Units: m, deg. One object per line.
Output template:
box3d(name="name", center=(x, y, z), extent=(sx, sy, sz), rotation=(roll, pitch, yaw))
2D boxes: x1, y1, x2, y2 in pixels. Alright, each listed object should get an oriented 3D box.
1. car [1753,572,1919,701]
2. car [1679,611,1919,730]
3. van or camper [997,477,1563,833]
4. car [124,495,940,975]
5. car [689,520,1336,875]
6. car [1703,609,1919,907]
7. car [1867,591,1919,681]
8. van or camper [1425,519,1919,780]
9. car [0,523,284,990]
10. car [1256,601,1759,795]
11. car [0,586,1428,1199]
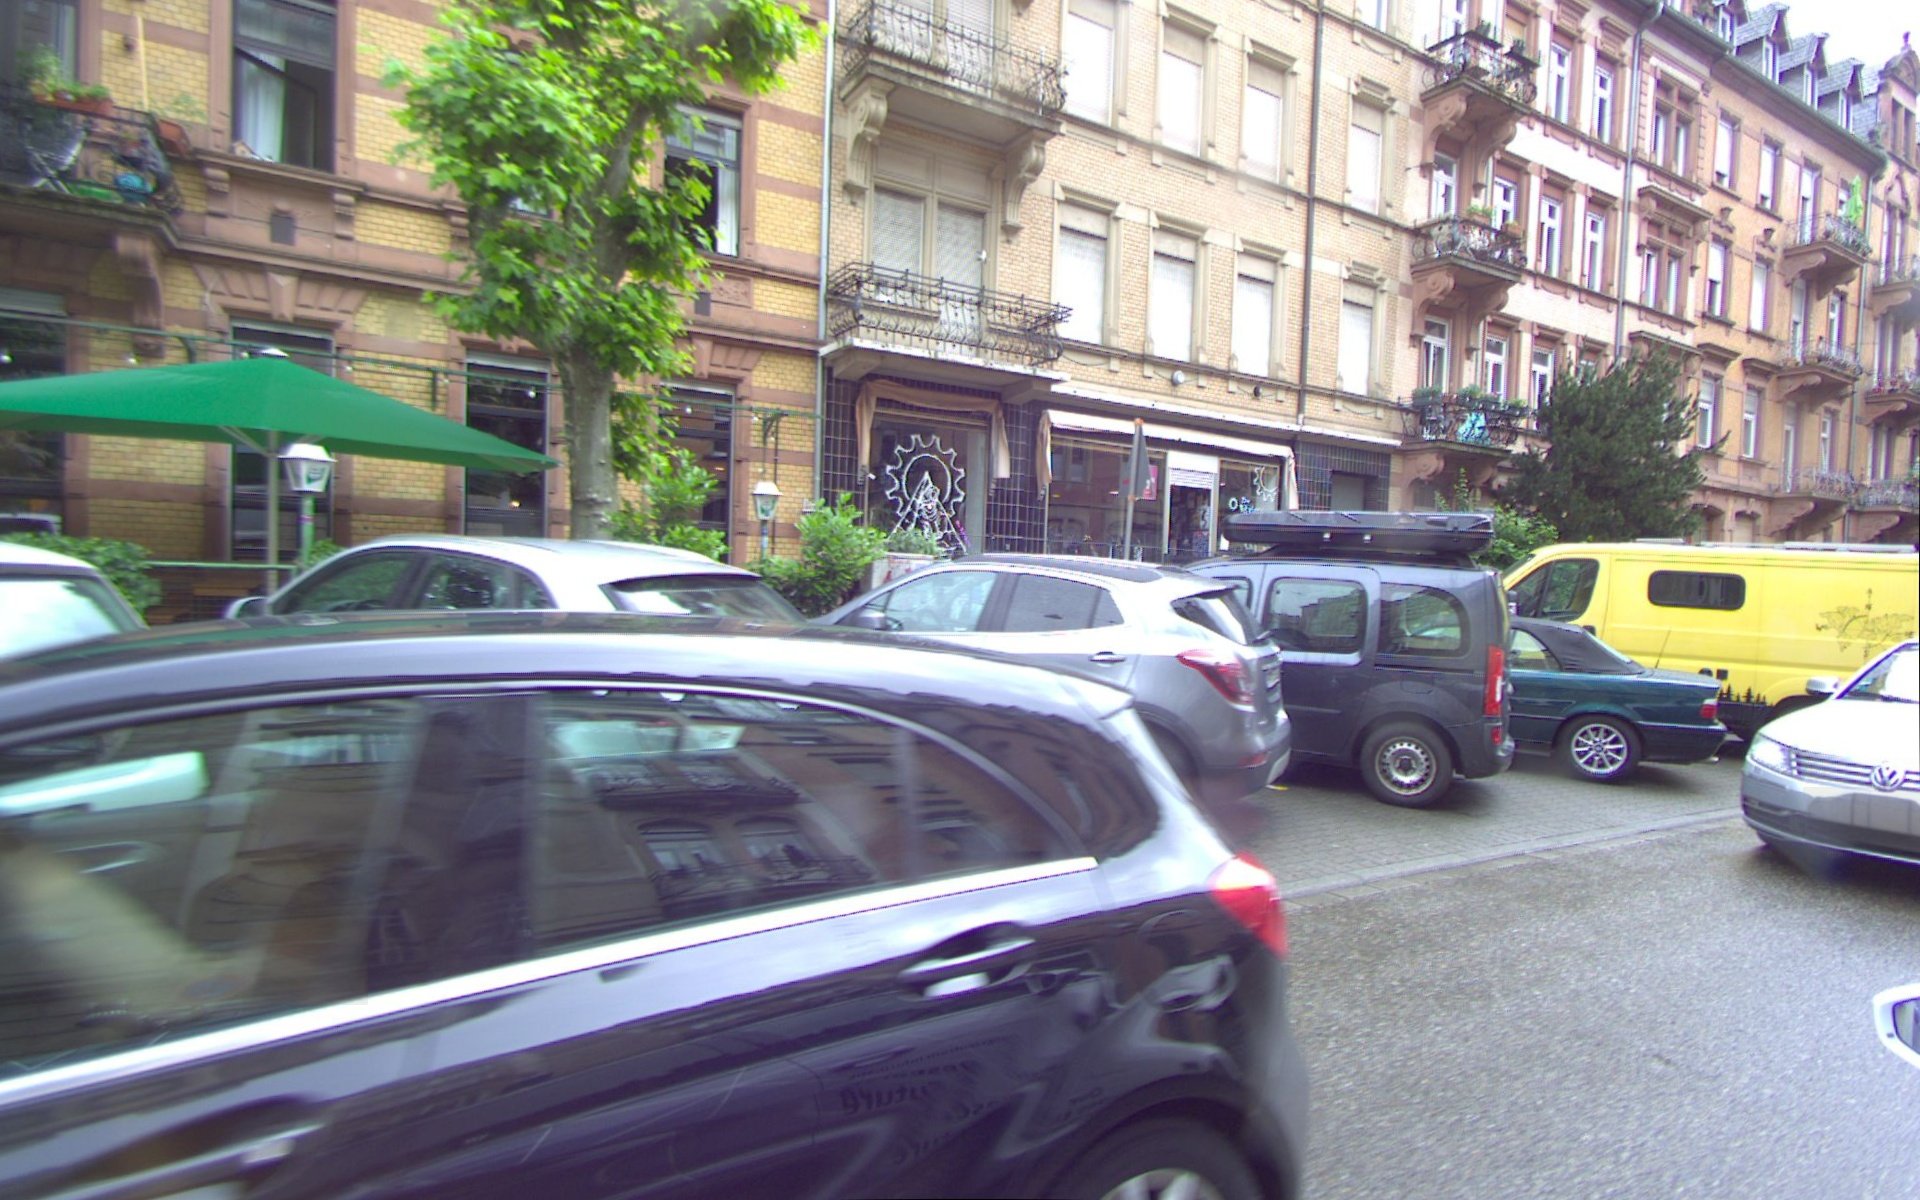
box3d(name="car", center=(17.105, 0.685, 17.328), extent=(5.167, 2.106, 1.864), rotation=(4, 1, 36))
box3d(name="car", center=(12.859, 0.992, 14.414), extent=(3.930, 1.455, 1.780), rotation=(3, 1, 32))
box3d(name="van or camper", center=(2.615, 0.272, 8.536), extent=(4.010, 2.269, 1.934), rotation=(6, 2, 28))
box3d(name="car", center=(-2.377, 0.440, 5.544), extent=(4.059, 1.684, 1.800), rotation=(6, 3, 24))
box3d(name="car", center=(0.360, 0.470, 7.051), extent=(4.059, 1.684, 1.800), rotation=(6, 2, 24))
box3d(name="car", center=(6.914, 0.858, 6.353), extent=(4.525, 1.514, 1.788), rotation=(1, 1, -28))
box3d(name="car", center=(21.818, 0.911, 20.299), extent=(2.516, 1.809, 4.555), rotation=(1, 4, -31))
box3d(name="van or camper", center=(7.897, 0.380, 11.270), extent=(4.640, 2.299, 2.181), rotation=(5, 4, 28))
box3d(name="car", center=(-5.035, 0.380, 4.179), extent=(4.060, 1.513, 1.800), rotation=(6, 2, 25))
box3d(name="car", center=(5.073, 0.789, 9.768), extent=(3.927, 1.515, 1.824), rotation=(1, 0, 28))
box3d(name="car", center=(-1.324, 0.751, 1.625), extent=(4.092, 1.513, 1.786), rotation=(4, -2, -31))
